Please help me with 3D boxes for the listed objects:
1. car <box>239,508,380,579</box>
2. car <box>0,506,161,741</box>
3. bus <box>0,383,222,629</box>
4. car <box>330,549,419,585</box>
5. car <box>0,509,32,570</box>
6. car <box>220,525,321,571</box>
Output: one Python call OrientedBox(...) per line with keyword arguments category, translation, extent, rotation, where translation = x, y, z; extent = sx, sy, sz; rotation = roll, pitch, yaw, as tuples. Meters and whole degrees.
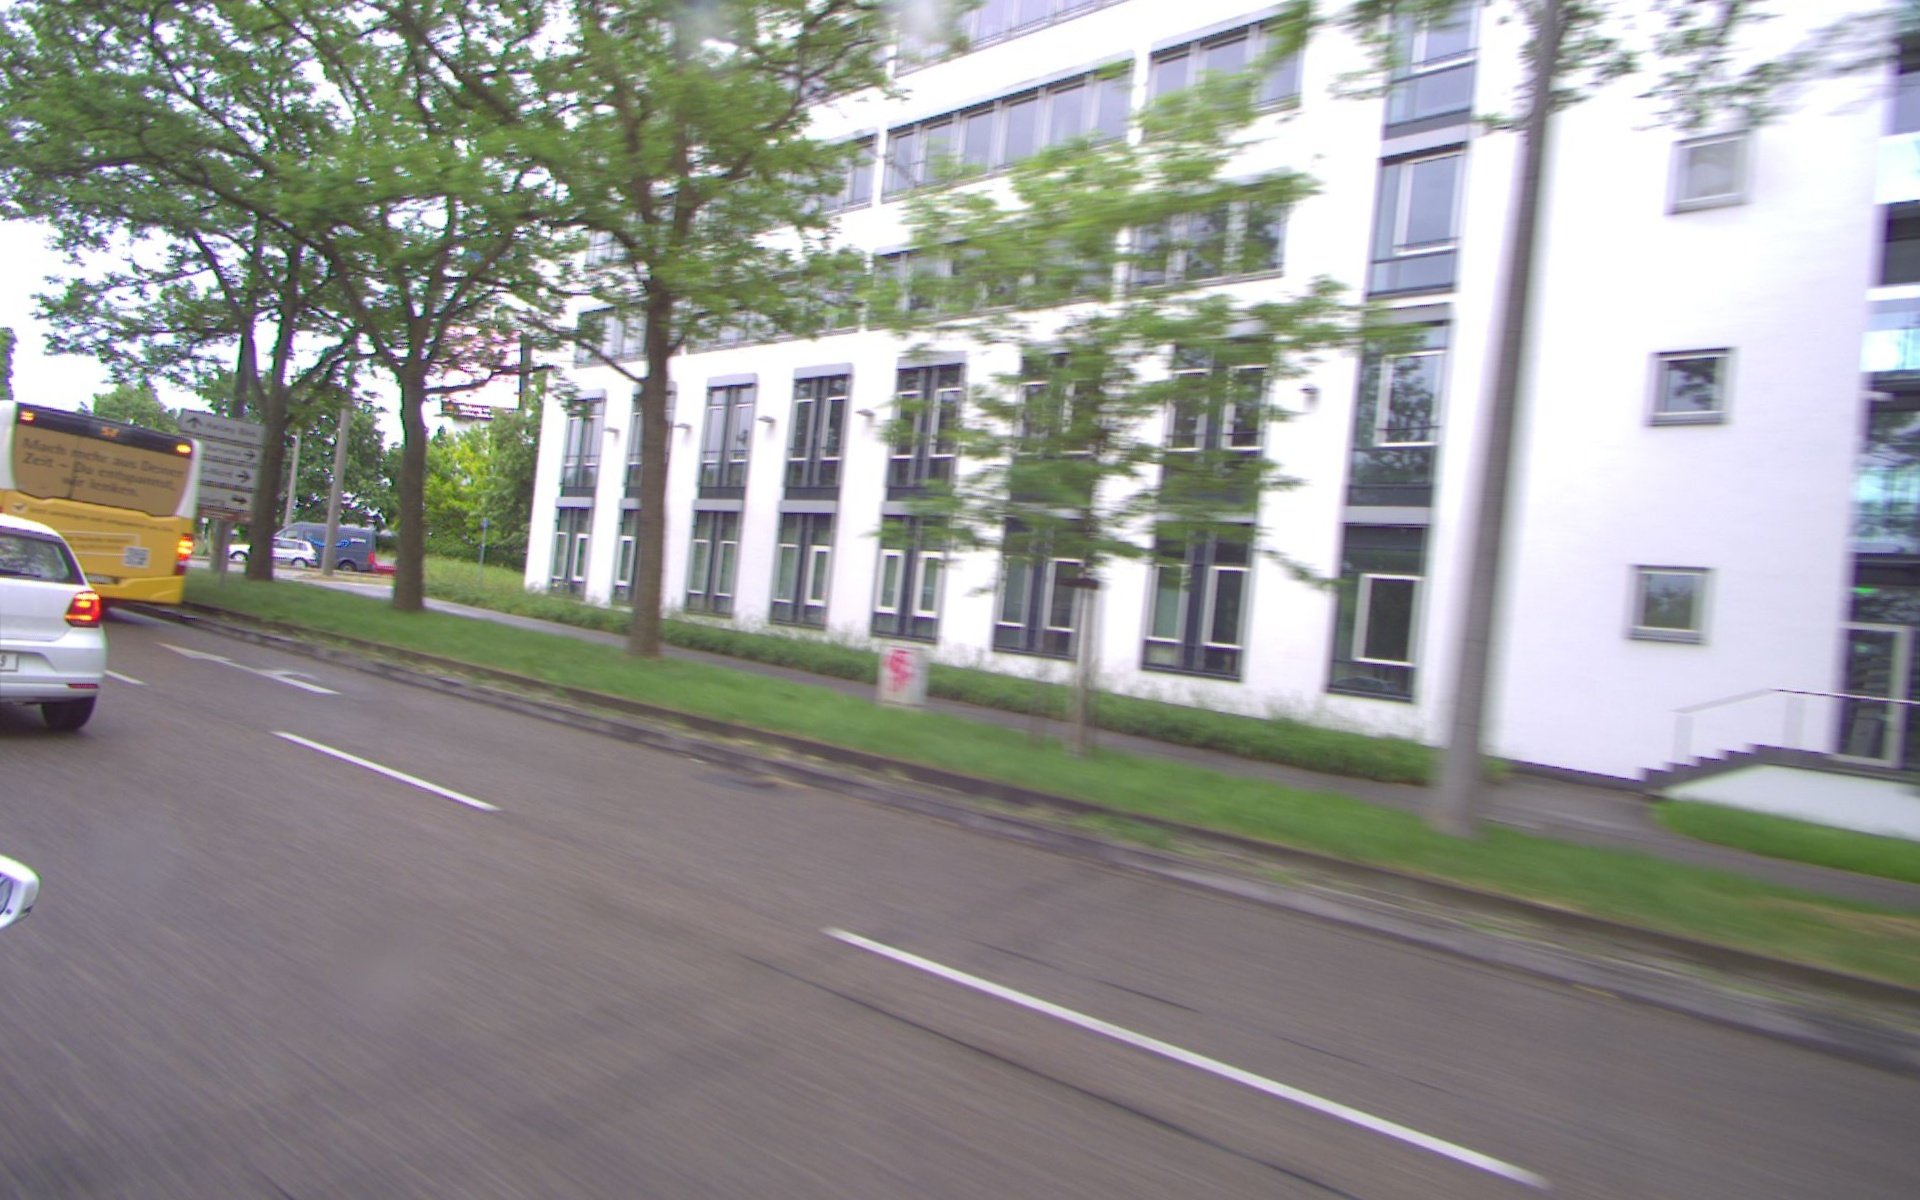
OrientedBox(category="car", translation=(-34.632, -2.953, 53.806), extent=(5.966, 2.771, 2.067), rotation=(8, -3, -30))
OrientedBox(category="car", translation=(-7.609, -0.005, 7.154), extent=(3.749, 1.447, 1.745), rotation=(5, -4, 32))
OrientedBox(category="bus", translation=(-17.793, -1.821, 18.429), extent=(11.951, 3.187, 2.732), rotation=(6, -3, 34))
OrientedBox(category="car", translation=(-35.690, -1.970, 61.377), extent=(4.493, 1.486, 2.146), rotation=(9, -4, -32))
OrientedBox(category="car", translation=(-25.972, -1.689, 26.411), extent=(1.857, 1.514, 4.111), rotation=(9, -4, -37))
OrientedBox(category="car", translation=(-34.631, -2.581, 50.660), extent=(4.023, 1.585, 1.857), rotation=(8, -4, -33))
